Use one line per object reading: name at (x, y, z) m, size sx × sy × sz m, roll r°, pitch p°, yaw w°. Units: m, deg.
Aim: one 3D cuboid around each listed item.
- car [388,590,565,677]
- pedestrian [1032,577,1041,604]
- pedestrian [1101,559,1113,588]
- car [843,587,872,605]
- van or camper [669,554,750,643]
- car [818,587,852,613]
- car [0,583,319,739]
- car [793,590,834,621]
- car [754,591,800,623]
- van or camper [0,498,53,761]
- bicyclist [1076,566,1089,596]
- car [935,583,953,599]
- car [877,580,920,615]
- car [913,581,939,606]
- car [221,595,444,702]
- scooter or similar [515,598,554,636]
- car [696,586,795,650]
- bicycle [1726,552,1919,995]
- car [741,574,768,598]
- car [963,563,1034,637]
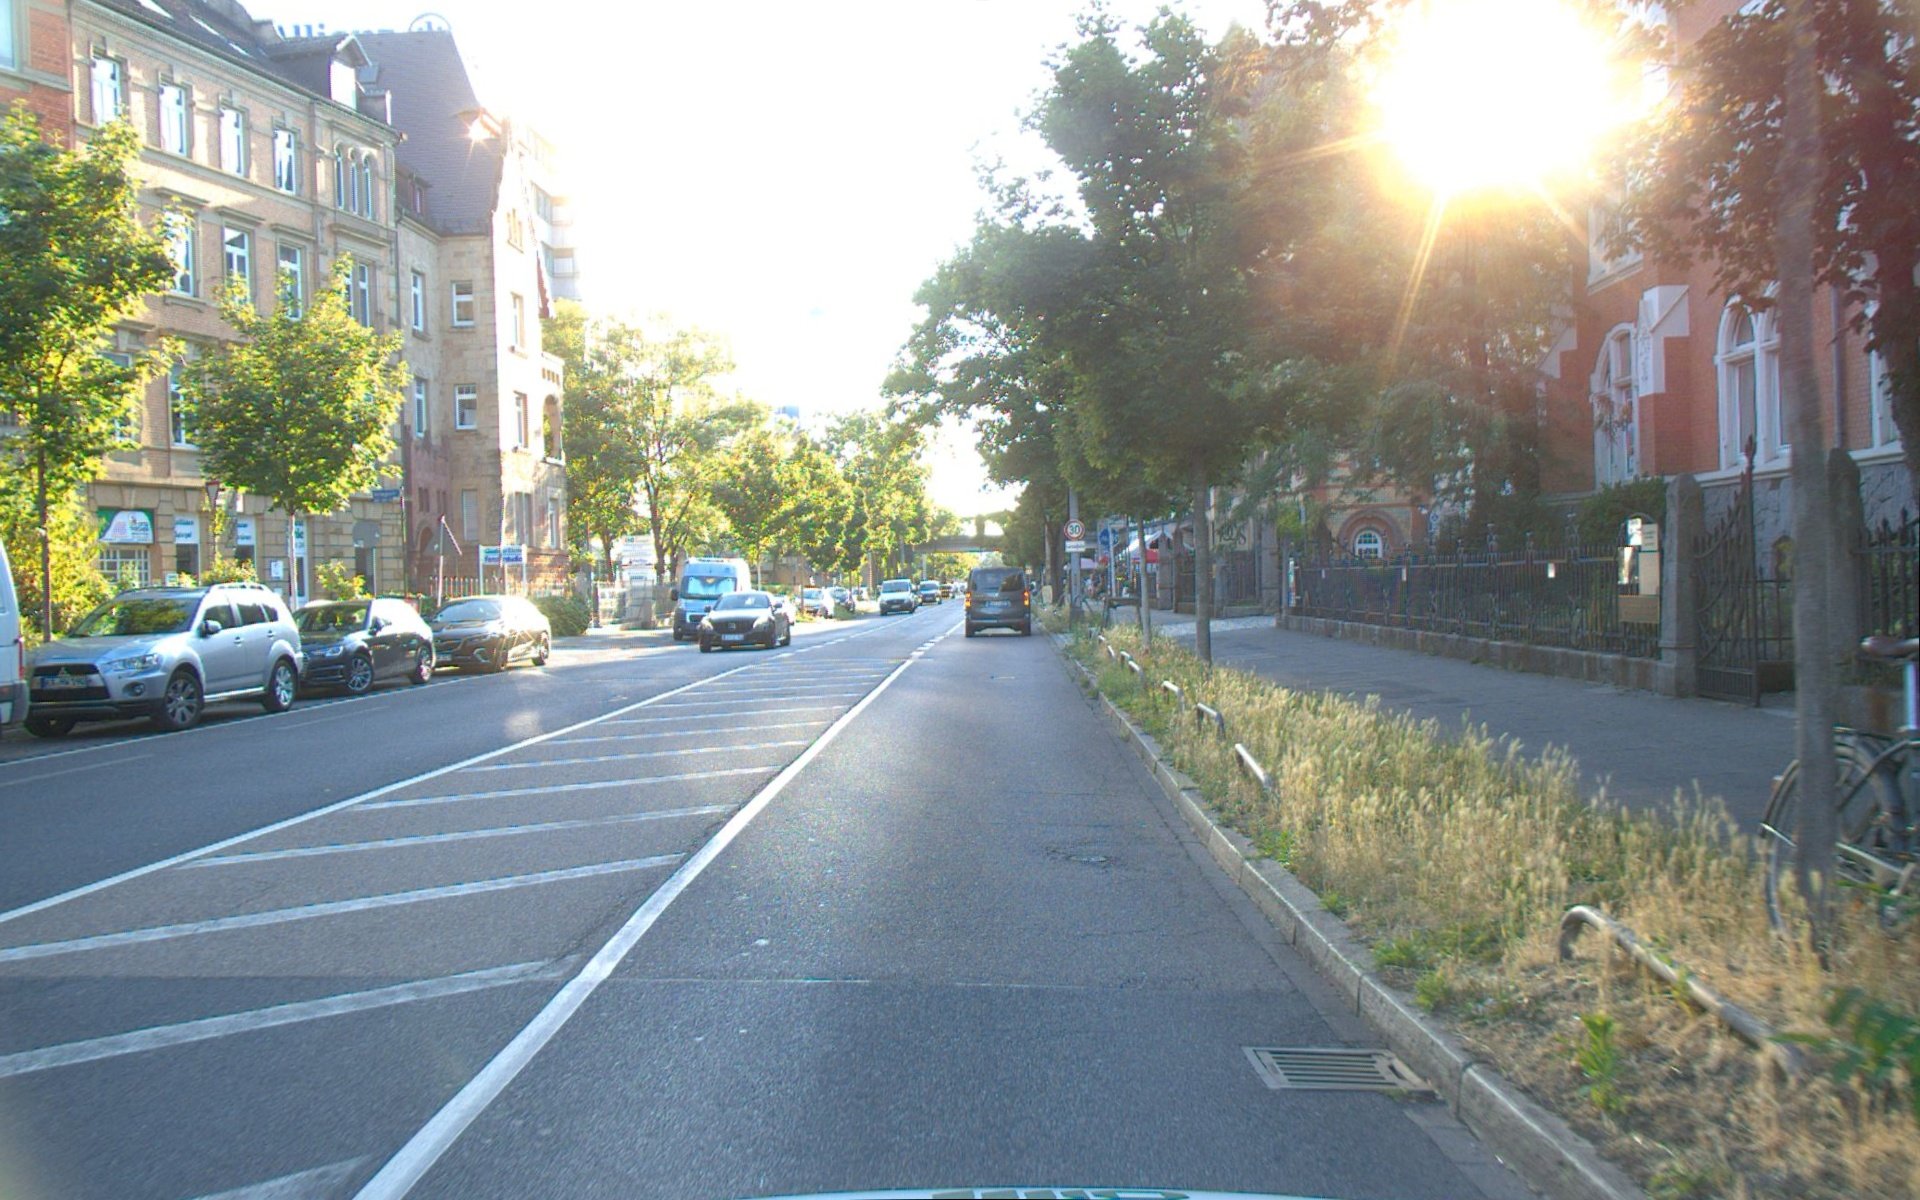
car at (-9.442, 0.605, 32.727) m, size 1.952 × 1.509 × 4.830 m, roll -2°, pitch 1°, yaw 1°
pedestrian at (5.438, -0.680, 117.223) m, size 0.495 × 1.921 × 0.543 m, roll 0°, pitch 0°, yaw -13°
pedestrian at (8.540, -1.514, 95.986) m, size 0.631 × 1.661 × 0.656 m, roll 0°, pitch 0°, yaw 2°
car at (-8.335, -0.313, 134.206) m, size 1.952 × 1.439 × 4.238 m, roll 0°, pitch 1°, yaw 2°
van or camper at (-8.004, -0.070, 53.413) m, size 1.954 × 2.715 × 6.035 m, roll 0°, pitch 1°, yaw -3°
car at (-7.153, -0.023, 95.173) m, size 1.604 × 1.410 × 4.000 m, roll 0°, pitch 1°, yaw 0°
car at (-9.893, 0.656, 20.706) m, size 1.827 × 1.673 × 4.572 m, roll -2°, pitch 1°, yaw 1°
car at (-7.295, 0.262, 82.606) m, size 1.662 × 1.477 × 4.000 m, roll 0°, pitch 1°, yaw 0°
car at (-7.607, 0.288, 69.047) m, size 1.504 × 1.270 × 3.614 m, roll 0°, pitch 1°, yaw 0°
van or camper at (-10.237, 0.356, 13.484) m, size 2.048 × 2.511 × 6.306 m, roll -2°, pitch 1°, yaw 1°
bicyclist at (6.412, -1.009, 86.537) m, size 0.583 × 1.559 × 0.893 m, roll 0°, pitch 0°, yaw 1°
car at (-1.685, -0.944, 171.323) m, size 1.644 × 1.556 × 4.001 m, roll -3°, pitch 0°, yaw 2°
car at (-3.436, -0.178, 93.796) m, size 1.952 × 1.863 × 5.171 m, roll -3°, pitch 1°, yaw 2°
car at (-2.645, -0.523, 128.186) m, size 1.795 × 1.885 × 4.474 m, roll -3°, pitch 1°, yaw 1°
car at (-9.875, 0.698, 26.437) m, size 1.700 × 1.470 × 4.626 m, roll -1°, pitch 1°, yaw 1°
scooter or similar at (-12.871, 0.510, 50.023) m, size 0.283 × 1.075 × 1.110 m, roll -2°, pitch 1°, yaw 43°
car at (-5.242, 0.408, 40.946) m, size 1.729 × 1.426 × 4.545 m, roll -2°, pitch 1°, yaw 1°
bicycle at (2.888, 0.466, 4.507) m, size 0.633 × 1.187 × 1.930 m, roll 0°, pitch 1°, yaw -2°
car at (-20.692, -1.439, 166.615) m, size 1.952 × 2.348 × 5.246 m, roll 0°, pitch 1°, yaw 2°
car at (1.124, -0.027, 46.611) m, size 1.848 × 1.958 × 3.841 m, roll -2°, pitch 1°, yaw 2°
